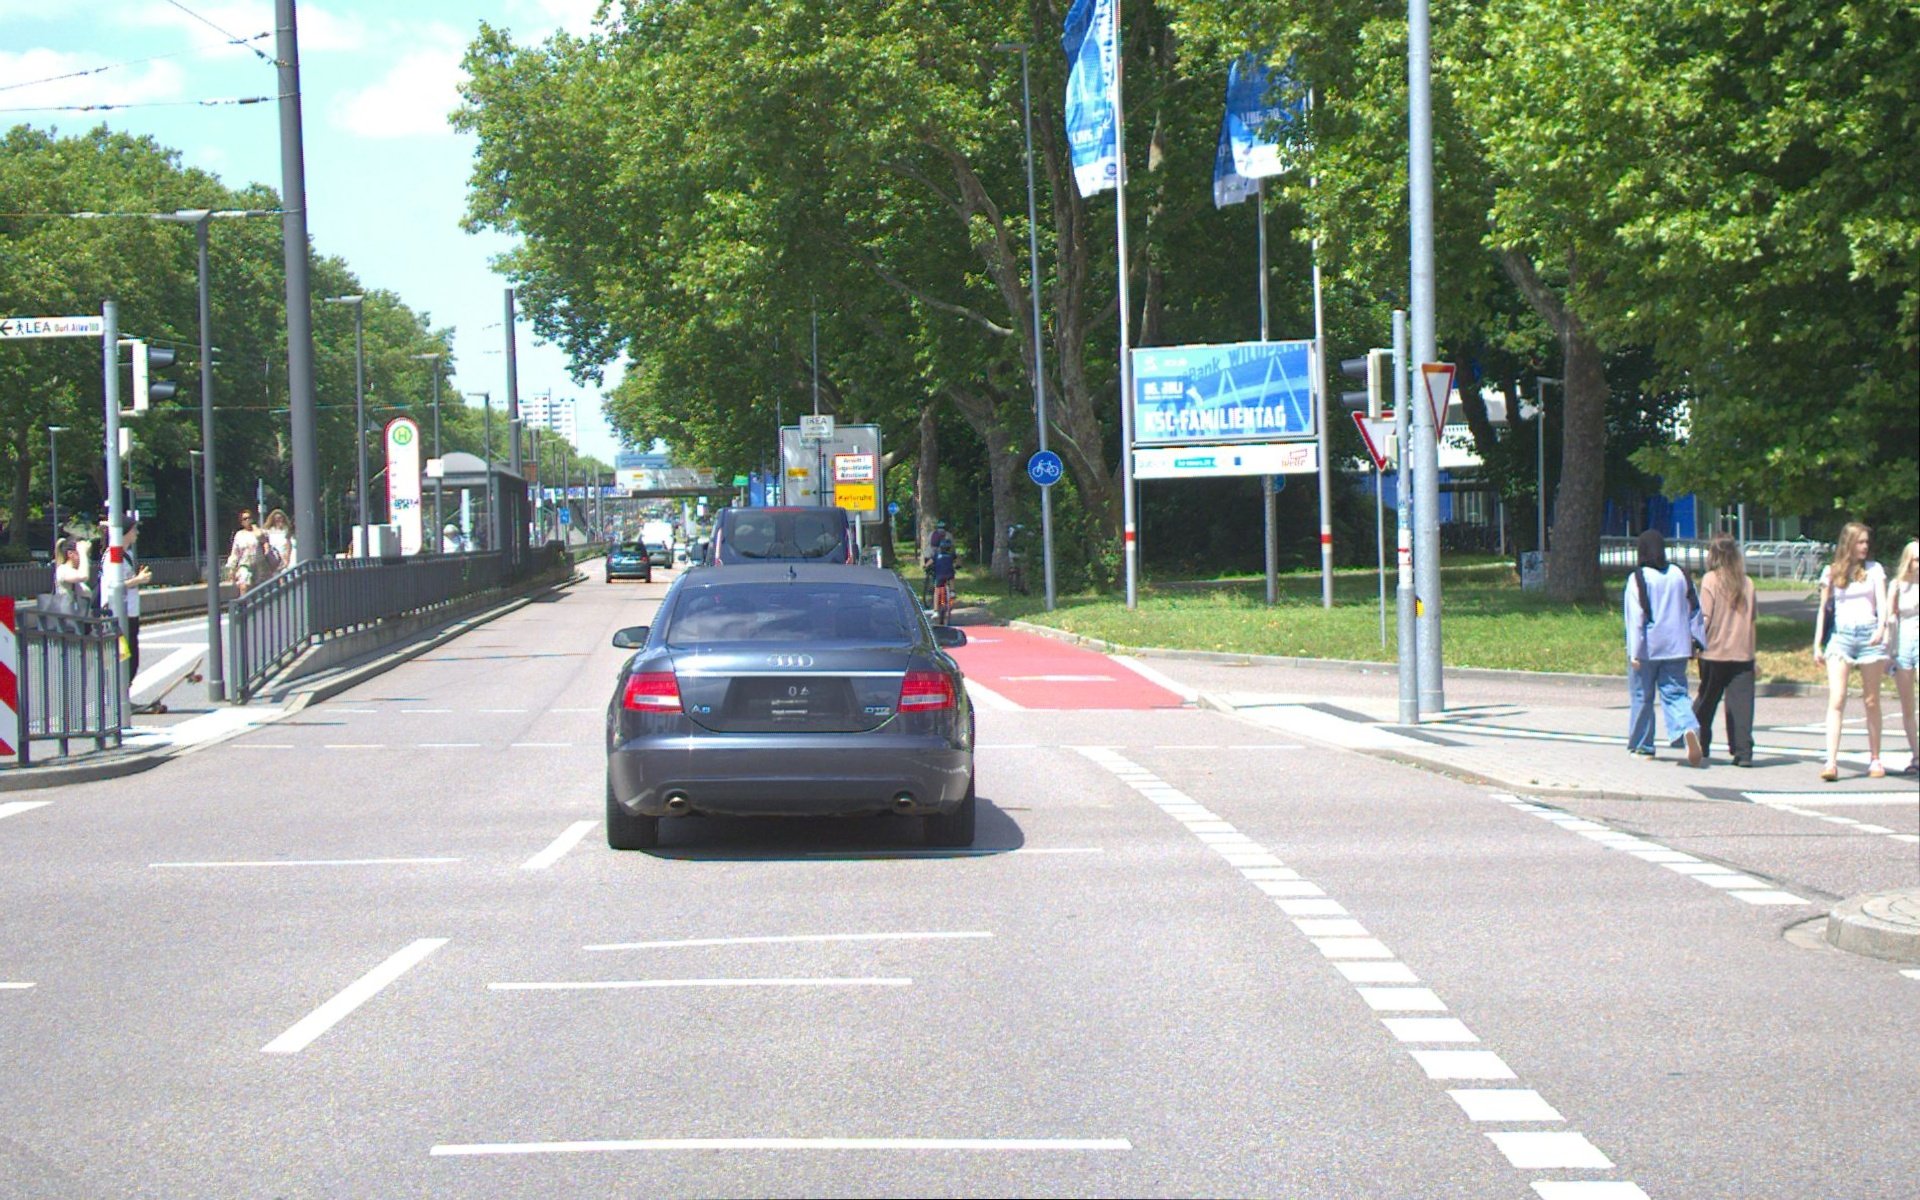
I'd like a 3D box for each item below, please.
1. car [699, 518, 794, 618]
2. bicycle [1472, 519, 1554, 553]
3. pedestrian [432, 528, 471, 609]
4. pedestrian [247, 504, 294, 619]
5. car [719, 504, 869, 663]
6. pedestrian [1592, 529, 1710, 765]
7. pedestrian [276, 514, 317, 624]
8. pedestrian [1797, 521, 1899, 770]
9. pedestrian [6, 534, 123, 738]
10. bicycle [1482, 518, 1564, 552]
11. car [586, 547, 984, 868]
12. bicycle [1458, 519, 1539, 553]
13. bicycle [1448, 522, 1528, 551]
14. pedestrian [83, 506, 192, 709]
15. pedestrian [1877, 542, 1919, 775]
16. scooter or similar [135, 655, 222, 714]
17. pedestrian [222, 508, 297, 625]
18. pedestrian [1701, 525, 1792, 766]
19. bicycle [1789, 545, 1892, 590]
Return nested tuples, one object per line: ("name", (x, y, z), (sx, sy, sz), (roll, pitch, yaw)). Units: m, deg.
("car", (-4.291, -0.657, 69.607), (1.848, 1.953, 4.145), (0, 1, -3))
("bicycle", (18.210, -2.116, 113.173), (2.545, 1.107, 0.759), (0, 1, -9))
("pedestrian", (-10.554, -0.654, 71.351), (0.732, 1.660, 0.742), (-1, 1, -5))
("pedestrian", (-10.176, -0.571, 50.752), (0.613, 1.675, 0.720), (0, 1, -6))
("car", (-2.141, -0.235, 44.495), (1.848, 1.953, 4.145), (0, 1, -3))
("pedestrian", (4.792, 0.311, 23.803), (0.765, 1.601, 0.896), (0, 1, 13))
("pedestrian", (-9.549, -0.447, 49.496), (0.497, 1.572, 0.557), (-1, 1, -6))
("pedestrian", (5.999, 0.298, 23.241), (0.527, 1.660, 0.640), (0, 1, 0))
("pedestrian", (-6.987, 0.269, 26.843), (0.785, 1.567, 0.765), (0, 1, -7))
("bicycle", (18.366, -2.106, 112.141), (2.545, 1.107, 0.759), (0, 1, -9))
("car", (-0.885, 0.513, 18.096), (1.842, 1.479, 4.000), (1, 0, -2))
("bicycle", (17.916, -2.129, 114.415), (2.545, 1.107, 0.759), (0, 1, -9))
("bicycle", (17.754, -2.141, 115.676), (2.545, 0.967, 0.759), (0, 1, -9))
("pedestrian", (-7.405, 0.060, 30.997), (0.862, 1.796, 0.884), (0, 1, -8))
("pedestrian", (6.620, 0.392, 23.529), (0.527, 1.574, 0.612), (0, 1, 0))
("scooter or similar", (-7.091, 0.763, 31.215), (0.726, 0.504, 0.457), (-1, 1, -7))
("pedestrian", (-9.674, -0.467, 47.504), (0.890, 1.599, 0.924), (-1, 1, -5))
("pedestrian", (5.569, 0.311, 24.332), (0.623, 1.677, 0.725), (0, 1, 13))
("bicycle", (19.720, -0.727, 77.011), (2.059, 0.965, 0.869), (-1, 1, -8))
